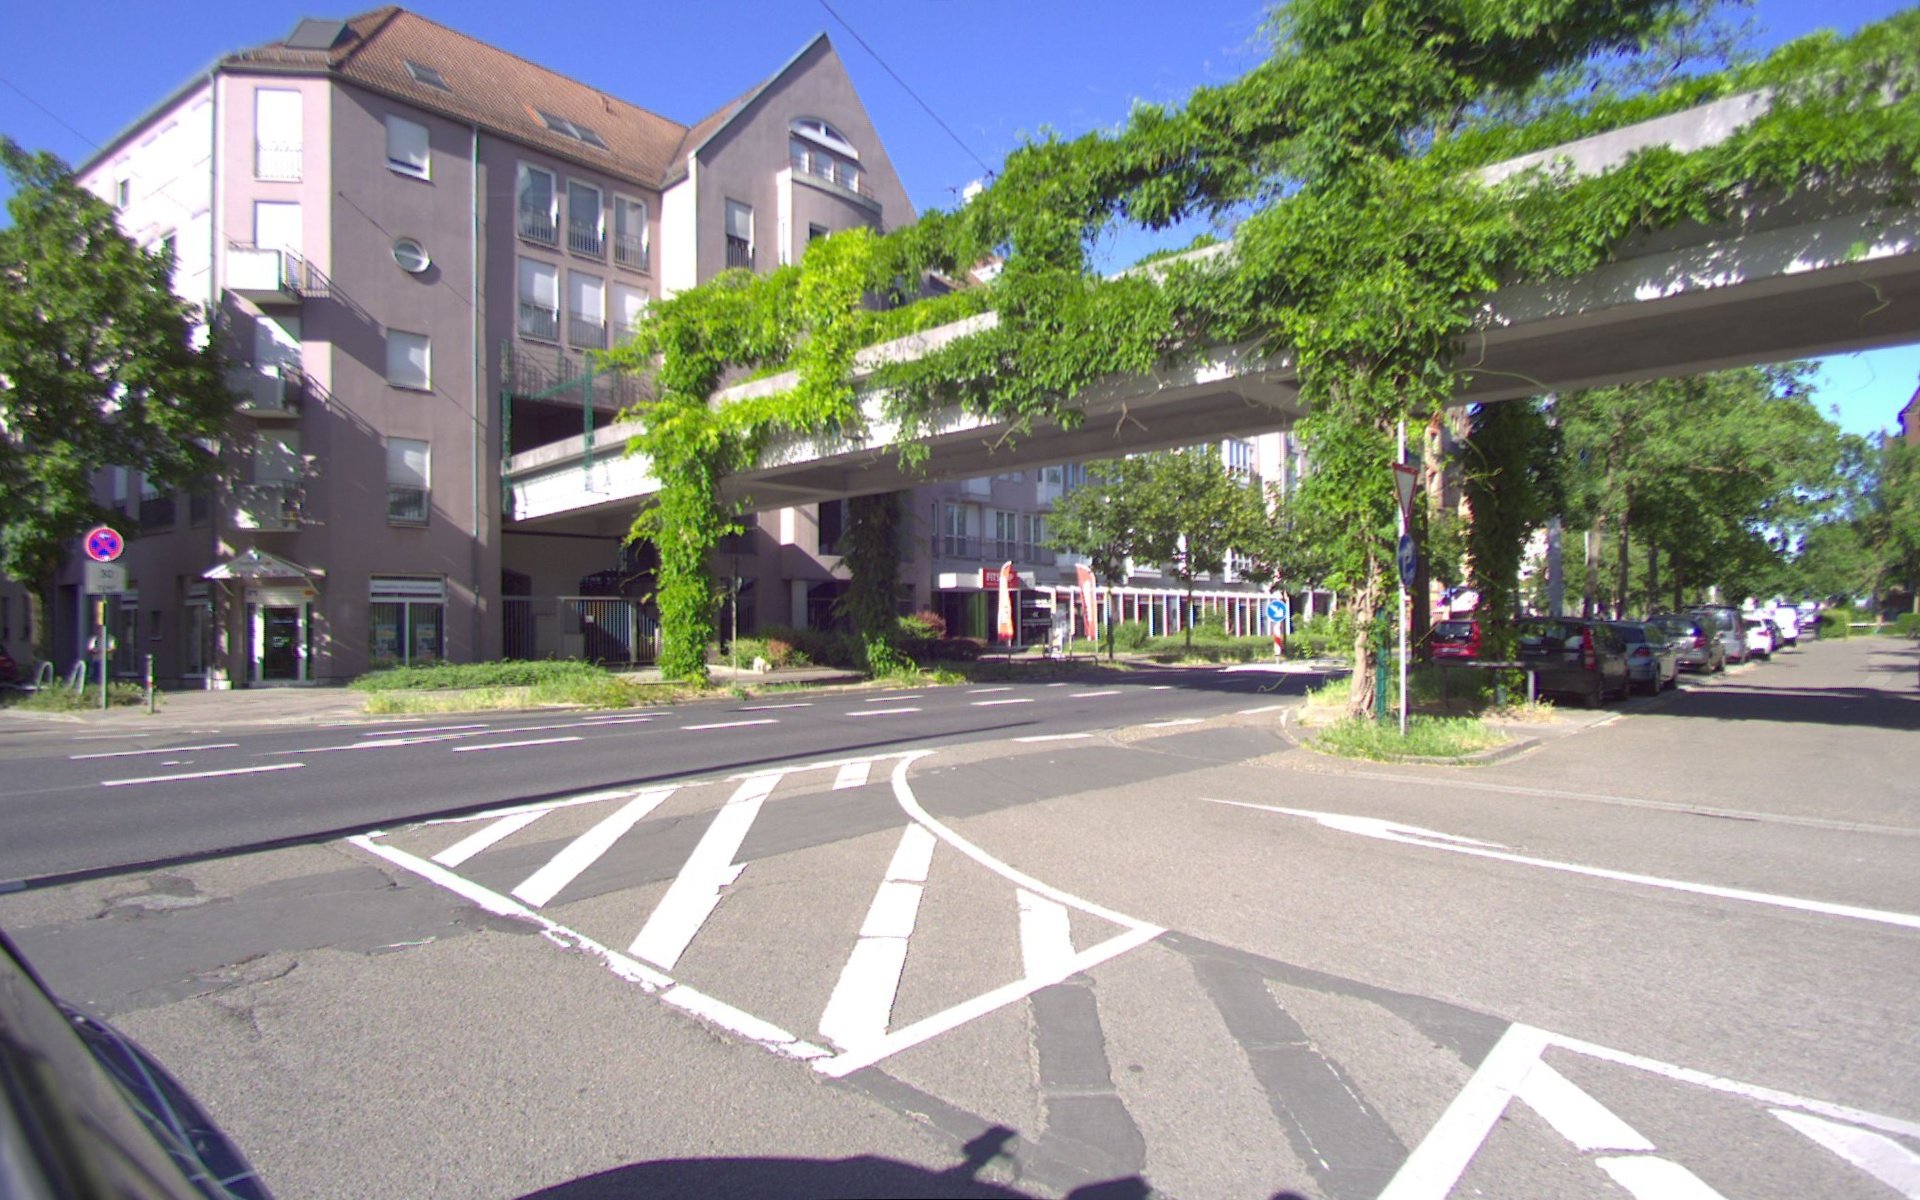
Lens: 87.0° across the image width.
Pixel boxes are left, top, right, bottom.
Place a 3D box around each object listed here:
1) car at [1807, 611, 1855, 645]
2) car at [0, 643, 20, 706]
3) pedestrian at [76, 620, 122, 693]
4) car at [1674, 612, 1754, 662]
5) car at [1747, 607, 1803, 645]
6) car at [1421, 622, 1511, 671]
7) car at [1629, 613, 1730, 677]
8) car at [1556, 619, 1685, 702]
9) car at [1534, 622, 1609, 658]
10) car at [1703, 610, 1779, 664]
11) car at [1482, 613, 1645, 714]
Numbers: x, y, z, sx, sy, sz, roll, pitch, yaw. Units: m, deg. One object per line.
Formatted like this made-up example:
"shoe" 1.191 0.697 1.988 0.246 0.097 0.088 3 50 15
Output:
"car" 53.951 1.704 62.630 2.000 2.029 4.234 -2 -2 43
"car" -24.517 1.802 24.517 3.989 1.474 1.673 -2 -2 34
"pedestrian" -19.208 1.248 22.584 0.623 1.588 0.533 0 -2 -23
"car" 25.256 1.219 33.846 1.735 1.561 4.386 -3 -3 42
"car" 43.161 1.382 53.553 2.070 1.923 4.463 -3 -3 41
"car" 15.927 1.423 31.816 1.656 1.439 3.458 -2 -2 42
"car" 20.092 1.218 28.208 1.778 1.659 4.025 -2 -2 43
"car" 13.693 1.164 20.876 1.657 1.459 4.224 2 1 41
"car" 26.442 1.707 43.698 1.872 1.469 4.527 -2 -2 43
"car" 29.355 1.373 37.986 1.999 1.897 4.180 -2 -2 41
"car" 10.686 1.032 17.822 1.746 1.550 3.726 1 0 42
